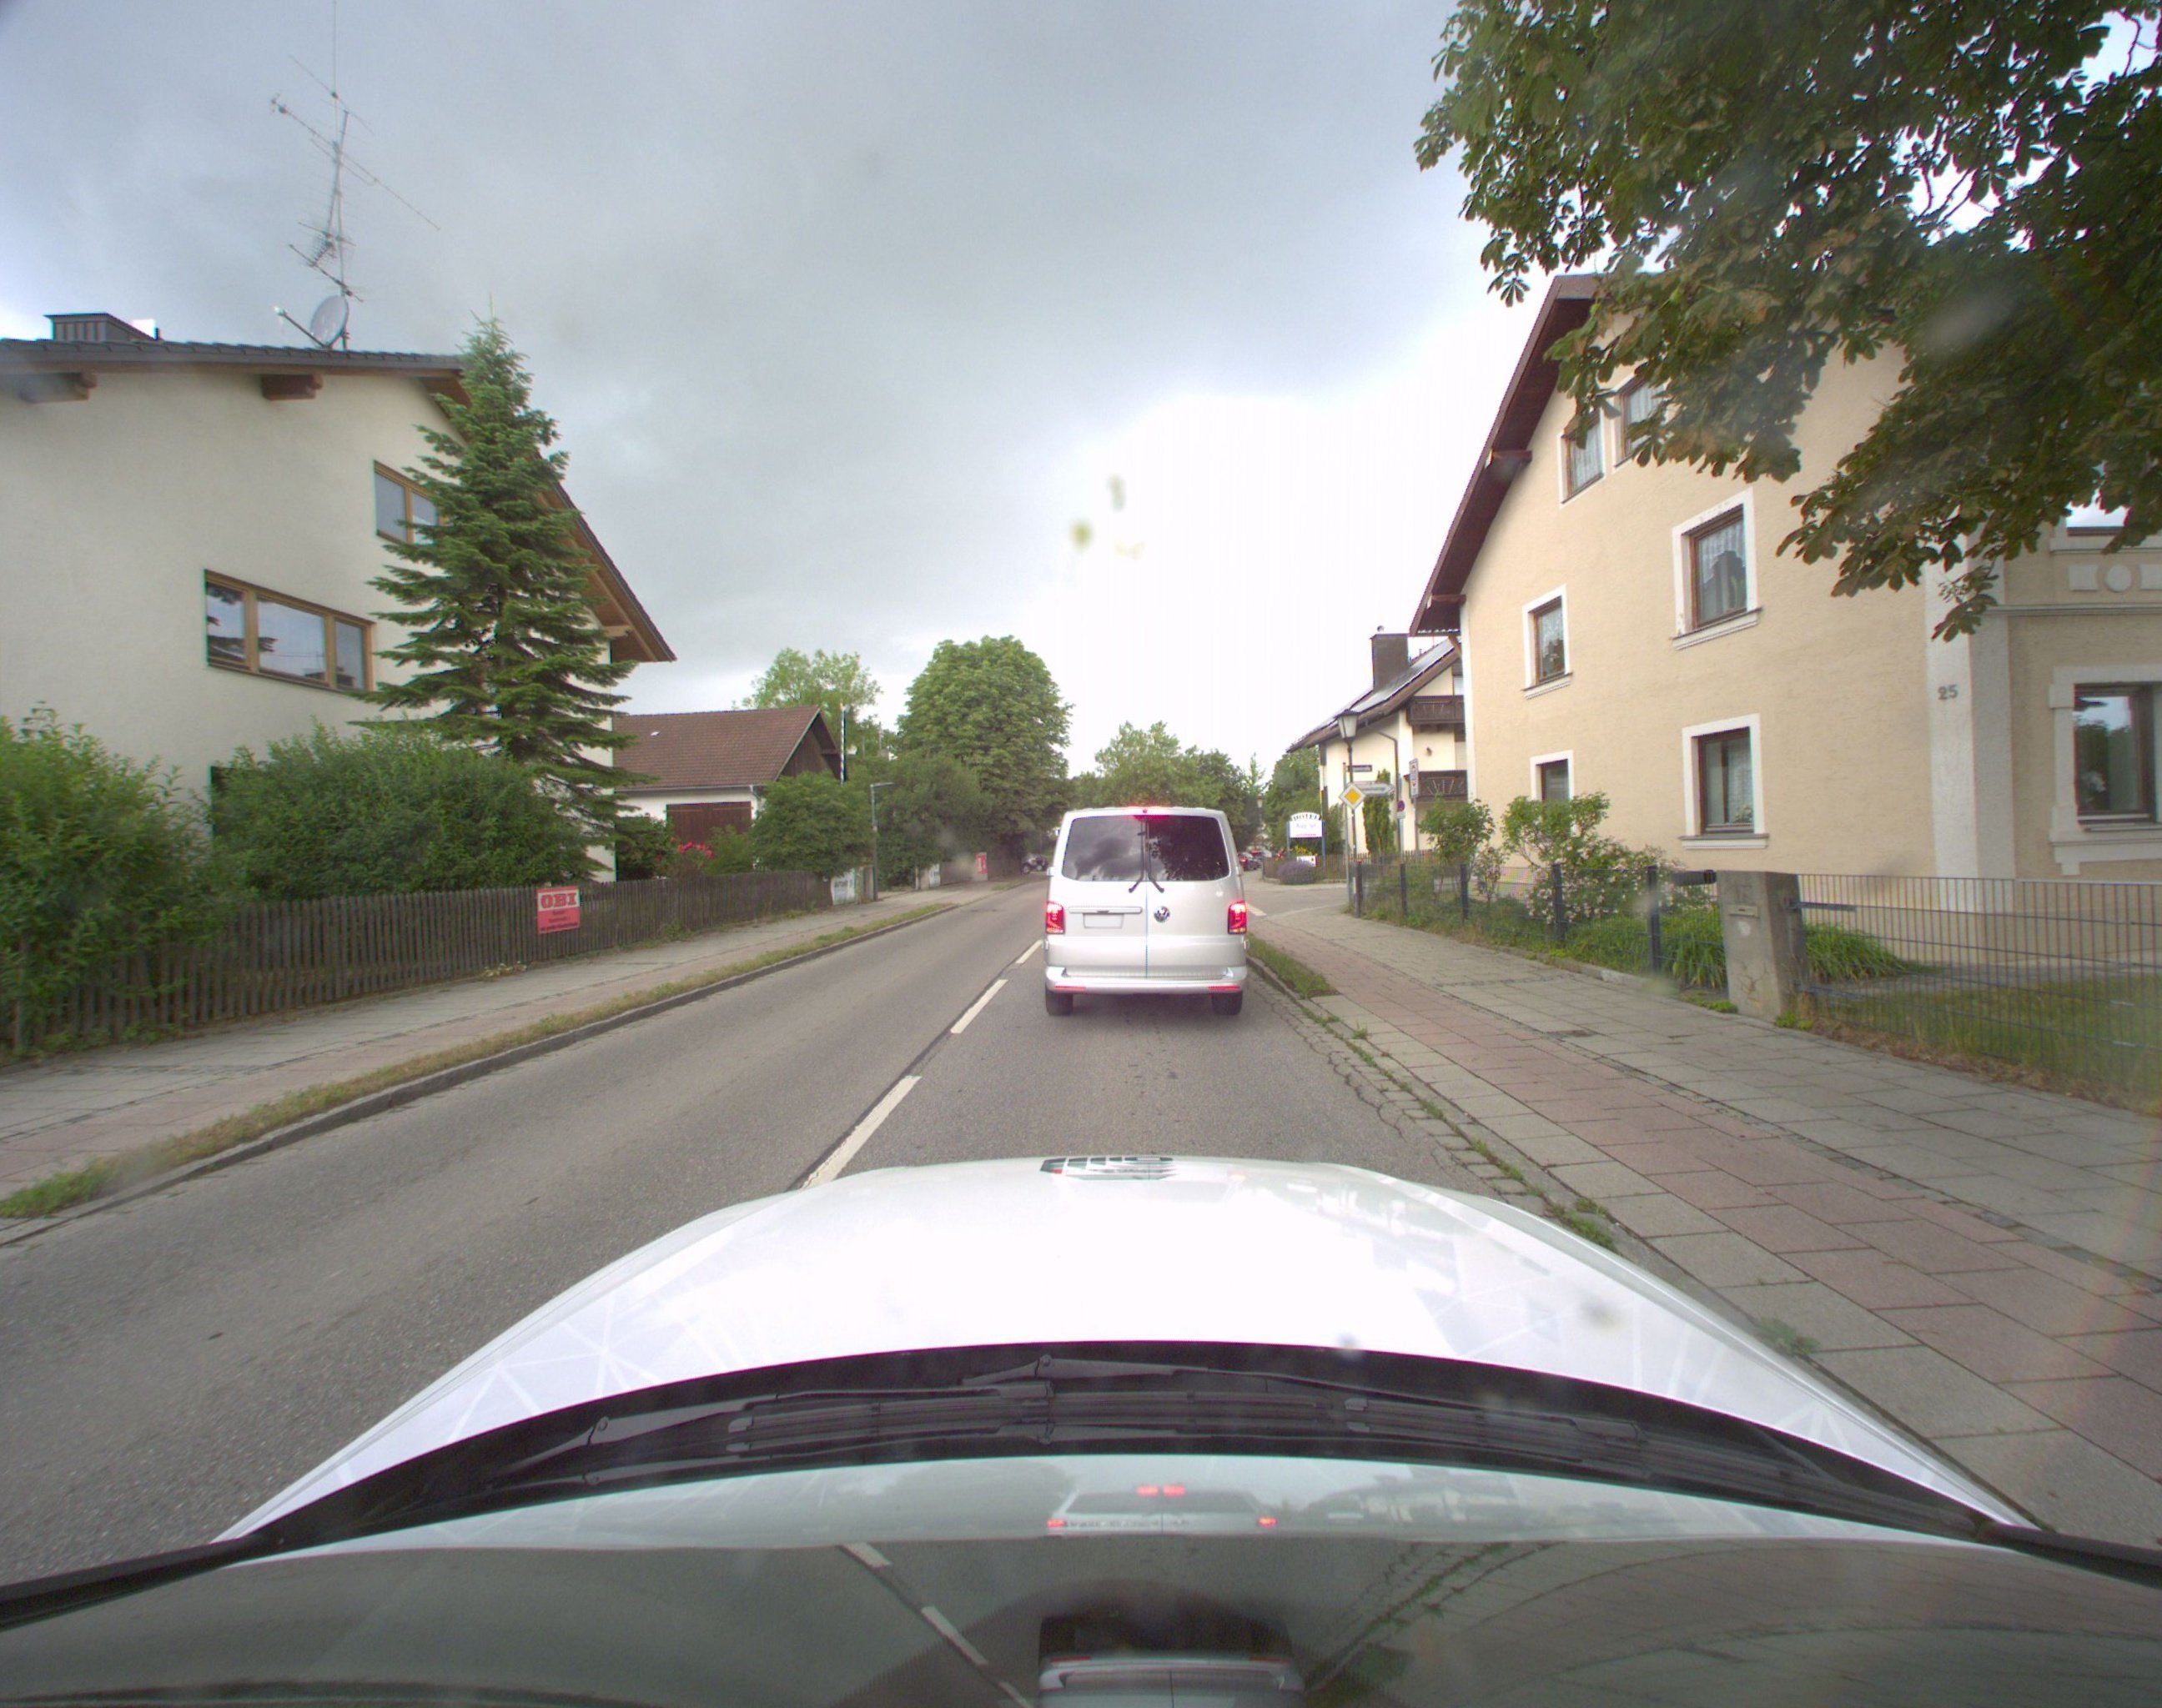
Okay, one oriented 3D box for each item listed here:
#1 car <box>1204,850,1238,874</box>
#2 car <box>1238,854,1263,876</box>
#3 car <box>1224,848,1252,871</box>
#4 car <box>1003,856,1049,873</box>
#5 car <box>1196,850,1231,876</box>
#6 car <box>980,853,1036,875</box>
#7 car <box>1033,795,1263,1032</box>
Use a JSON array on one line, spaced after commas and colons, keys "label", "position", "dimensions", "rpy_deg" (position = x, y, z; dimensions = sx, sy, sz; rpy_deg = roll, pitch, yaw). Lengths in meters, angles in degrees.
[{"label": "car", "position": [9.852, 0.550, 57.037], "dimensions": [1.867, 1.535, 3.937], "rpy_deg": [-2, 0, 16]}, {"label": "car", "position": [15.097, 0.975, 72.327], "dimensions": [1.867, 1.825, 3.937], "rpy_deg": [-2, 0, 15]}, {"label": "car", "position": [12.685, 0.435, 65.630], "dimensions": [1.867, 1.748, 4.096], "rpy_deg": [-2, 0, 14]}, {"label": "car", "position": [-4.682, 0.895, 69.298], "dimensions": [3.748, 1.346, 1.579], "rpy_deg": [-2, 0, -9]}, {"label": "car", "position": [8.532, 0.552, 52.185], "dimensions": [1.868, 1.535, 3.935], "rpy_deg": [-2, 0, 14]}, {"label": "car", "position": [-5.296, 0.704, 59.106], "dimensions": [3.982, 1.486, 1.996], "rpy_deg": [-1, 0, -7]}, {"label": "car", "position": [0.651, 0.503, 8.796], "dimensions": [1.874, 1.940, 3.923], "rpy_deg": [-2, 0, 3]}]
